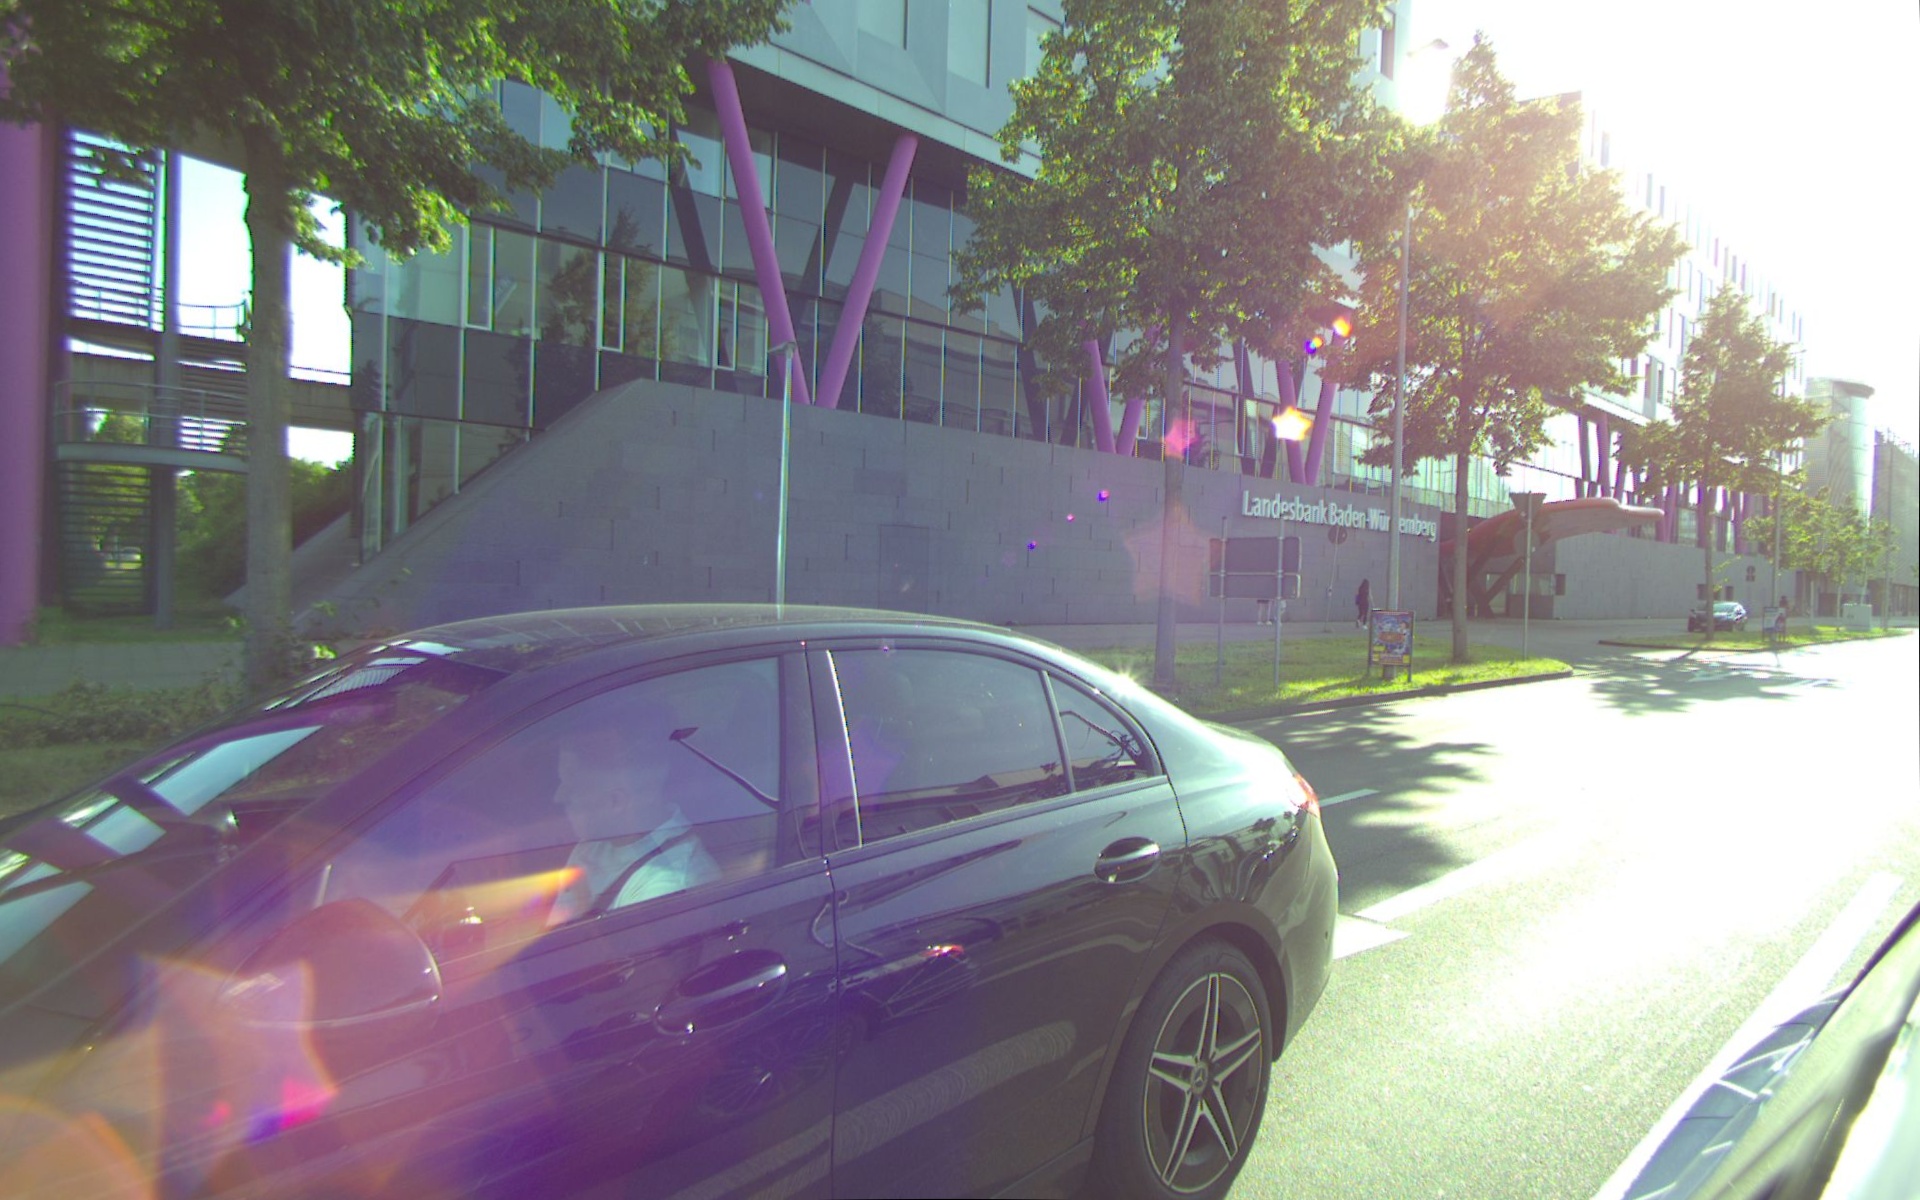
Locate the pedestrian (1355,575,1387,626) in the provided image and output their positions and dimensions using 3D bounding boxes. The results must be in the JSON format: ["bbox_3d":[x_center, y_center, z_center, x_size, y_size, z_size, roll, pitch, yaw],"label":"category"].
[{"bbox_3d":[13.596,-0.005,33.492,0.724,1.659,0.695,-1,2,-41],"label":"pedestrian"}]

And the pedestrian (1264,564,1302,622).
[{"bbox_3d":[10.411,-0.224,32.619,0.829,1.815,0.756,1,3,-41],"label":"pedestrian"}]

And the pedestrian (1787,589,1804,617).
[{"bbox_3d":[54.919,0.191,66.526,0.758,1.808,0.725,0,1,-41],"label":"pedestrian"}]

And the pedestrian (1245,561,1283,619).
[{"bbox_3d":[9.989,-0.336,33.218,0.838,1.847,0.769,1,3,-41],"label":"pedestrian"}]

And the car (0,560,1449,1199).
[{"bbox_3d":[-0.918,0.689,2.220,4.473,1.468,1.843,1,0,-39],"label":"car"}]

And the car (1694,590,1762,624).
[{"bbox_3d":[34.834,0.320,45.886,4.126,1.407,1.694,1,1,-42],"label":"car"}]
